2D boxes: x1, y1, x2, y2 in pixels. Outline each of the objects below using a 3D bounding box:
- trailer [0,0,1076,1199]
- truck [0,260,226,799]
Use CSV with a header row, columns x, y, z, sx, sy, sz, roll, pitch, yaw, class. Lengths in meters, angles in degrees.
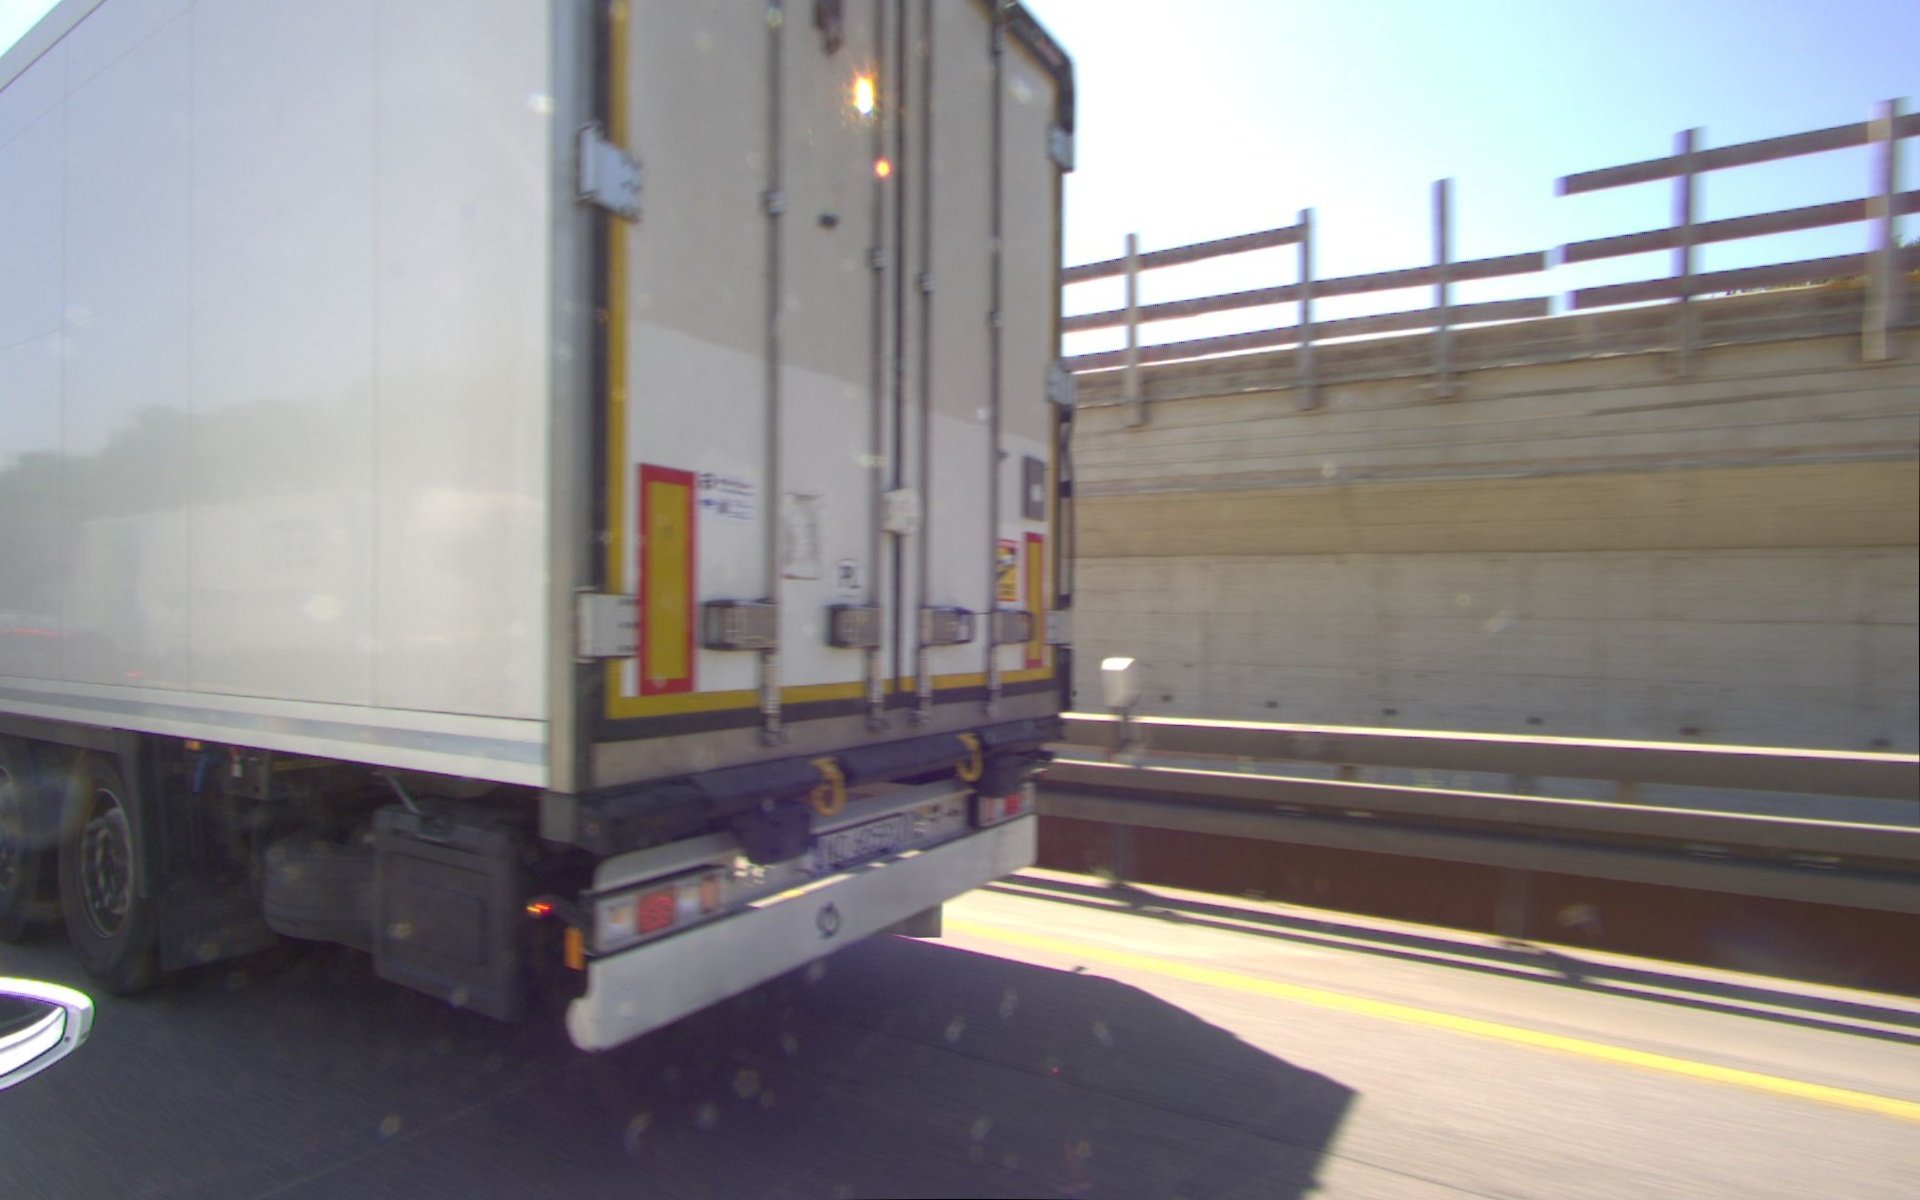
x,y,z,sx,sy,sz,roll,pitch,yaw,class
-4.940,-0.612,6.303,11.387,4.179,2.527,-1,-2,33,trailer
-10.536,-0.451,9.964,8.122,4.076,2.508,-1,-2,33,truck
